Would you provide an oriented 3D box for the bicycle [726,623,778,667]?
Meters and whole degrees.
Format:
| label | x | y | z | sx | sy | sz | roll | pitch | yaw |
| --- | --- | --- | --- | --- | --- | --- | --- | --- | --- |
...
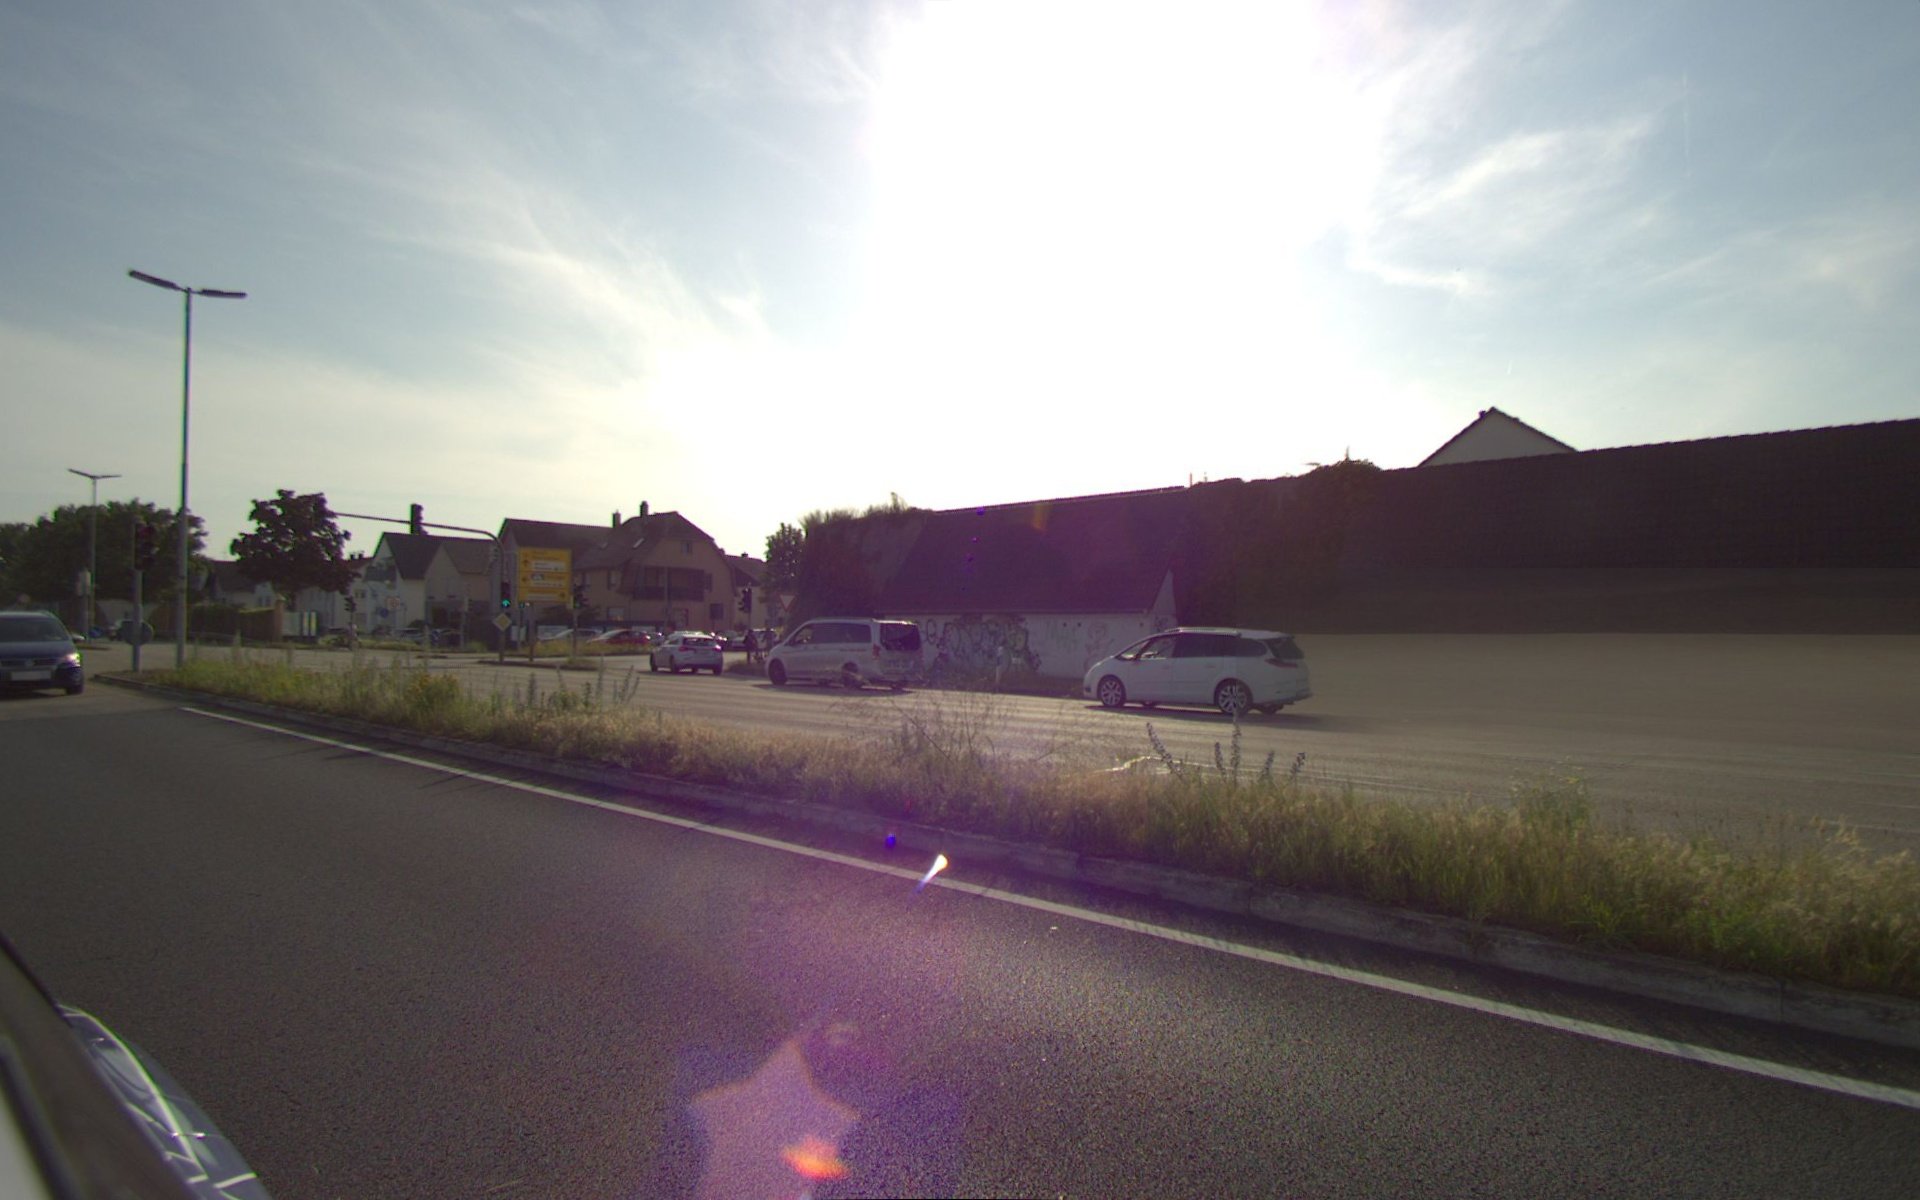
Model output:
| label | x | y | z | sx | sy | sz | roll | pitch | yaw |
| --- | --- | --- | --- | --- | --- | --- | --- | --- | --- |
| bicycle | -8.857 | 1.887 | 43.064 | 2.606 | 1.762 | 0.745 | 0 | 0 | 41 |

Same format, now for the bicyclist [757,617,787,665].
| label | x | y | z | sx | sy | sz | roll | pitch | yaw |
| --- | --- | --- | --- | --- | --- | --- | --- | --- | --- |
| bicyclist | -8.136 | 1.770 | 43.762 | 1.061 | 2.029 | 0.762 | -1 | 0 | 41 |

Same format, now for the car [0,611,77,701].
| label | x | y | z | sx | sy | sz | roll | pitch | yaw |
| --- | --- | --- | --- | --- | --- | --- | --- | --- | --- |
| car | -19.224 | 1.048 | 20.268 | 4.680 | 1.633 | 1.754 | 0 | -1 | 42 |

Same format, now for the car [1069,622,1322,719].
| label | x | y | z | sx | sy | sz | roll | pitch | yaw |
| --- | --- | --- | --- | --- | --- | --- | --- | --- | --- |
| car | 4.738 | 1.383 | 20.774 | 4.755 | 1.720 | 1.817 | 0 | -4 | 42 |

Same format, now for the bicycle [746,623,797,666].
| label | x | y | z | sx | sy | sz | roll | pitch | yaw |
| --- | --- | --- | --- | --- | --- | --- | --- | --- | --- |
| bicycle | -8.178 | 1.899 | 43.821 | 2.606 | 1.762 | 0.745 | 0 | 0 | 41 |

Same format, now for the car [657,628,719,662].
| label | x | y | z | sx | sy | sz | roll | pitch | yaw |
| --- | --- | --- | --- | --- | --- | --- | --- | --- | --- |
| car | -13.646 | 2.221 | 51.103 | 1.928 | 1.509 | 4.762 | 0 | 0 | -1 |

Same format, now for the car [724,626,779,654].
| label | x | y | z | sx | sy | sz | roll | pitch | yaw |
| --- | --- | --- | --- | --- | --- | --- | --- | --- | --- |
| car | -14.854 | 2.847 | 72.327 | 1.985 | 1.829 | 4.155 | 0 | 0 | 20 |

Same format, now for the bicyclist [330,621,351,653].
| label | x | y | z | sx | sy | sz | roll | pitch | yaw |
| --- | --- | --- | --- | --- | --- | --- | --- | --- | --- |
| bicyclist | -36.472 | 2.169 | 59.586 | 0.844 | 1.800 | 0.848 | 5 | -3 | -41 |

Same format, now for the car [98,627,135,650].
| label | x | y | z | sx | sy | sz | roll | pitch | yaw |
| --- | --- | --- | --- | --- | --- | --- | --- | --- | --- |
| car | -60.927 | 2.756 | 73.056 | 1.711 | 1.553 | 4.250 | 4 | -4 | -44 |

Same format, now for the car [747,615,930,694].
| label | x | y | z | sx | sy | sz | roll | pitch | yaw |
| --- | --- | --- | --- | --- | --- | --- | --- | --- | --- |
| car | -3.467 | 1.459 | 28.018 | 5.454 | 1.942 | 1.886 | 0 | -4 | 43 |

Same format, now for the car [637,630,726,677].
| label | x | y | z | sx | sy | sz | roll | pitch | yaw |
| --- | --- | --- | --- | --- | --- | --- | --- | --- | --- |
| car | -10.269 | 1.920 | 37.096 | 1.680 | 1.509 | 4.549 | 5 | -4 | -34 |

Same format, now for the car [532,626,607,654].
| label | x | y | z | sx | sy | sz | roll | pitch | yaw |
| --- | --- | --- | --- | --- | --- | --- | --- | --- | --- |
| car | -24.121 | 2.487 | 62.597 | 1.757 | 1.575 | 3.944 | 0 | -4 | 41 |

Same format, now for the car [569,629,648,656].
| label | x | y | z | sx | sy | sz | roll | pitch | yaw |
| --- | --- | --- | --- | --- | --- | --- | --- | --- | --- |
| car | -20.598 | 2.514 | 59.467 | 1.638 | 1.424 | 4.255 | -1 | -4 | 34 |

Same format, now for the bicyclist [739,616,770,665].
| label | x | y | z | sx | sy | sz | roll | pitch | yaw |
| --- | --- | --- | --- | --- | --- | --- | --- | --- | --- |
| bicyclist | -8.720 | 1.714 | 42.948 | 1.061 | 2.029 | 0.762 | -1 | 0 | 41 |

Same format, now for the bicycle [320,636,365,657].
| label | x | y | z | sx | sy | sz | roll | pitch | yaw |
| --- | --- | --- | --- | --- | --- | --- | --- | --- | --- |
| bicycle | -36.380 | 2.753 | 59.658 | 2.129 | 1.201 | 0.905 | 3 | -2 | -41 |
